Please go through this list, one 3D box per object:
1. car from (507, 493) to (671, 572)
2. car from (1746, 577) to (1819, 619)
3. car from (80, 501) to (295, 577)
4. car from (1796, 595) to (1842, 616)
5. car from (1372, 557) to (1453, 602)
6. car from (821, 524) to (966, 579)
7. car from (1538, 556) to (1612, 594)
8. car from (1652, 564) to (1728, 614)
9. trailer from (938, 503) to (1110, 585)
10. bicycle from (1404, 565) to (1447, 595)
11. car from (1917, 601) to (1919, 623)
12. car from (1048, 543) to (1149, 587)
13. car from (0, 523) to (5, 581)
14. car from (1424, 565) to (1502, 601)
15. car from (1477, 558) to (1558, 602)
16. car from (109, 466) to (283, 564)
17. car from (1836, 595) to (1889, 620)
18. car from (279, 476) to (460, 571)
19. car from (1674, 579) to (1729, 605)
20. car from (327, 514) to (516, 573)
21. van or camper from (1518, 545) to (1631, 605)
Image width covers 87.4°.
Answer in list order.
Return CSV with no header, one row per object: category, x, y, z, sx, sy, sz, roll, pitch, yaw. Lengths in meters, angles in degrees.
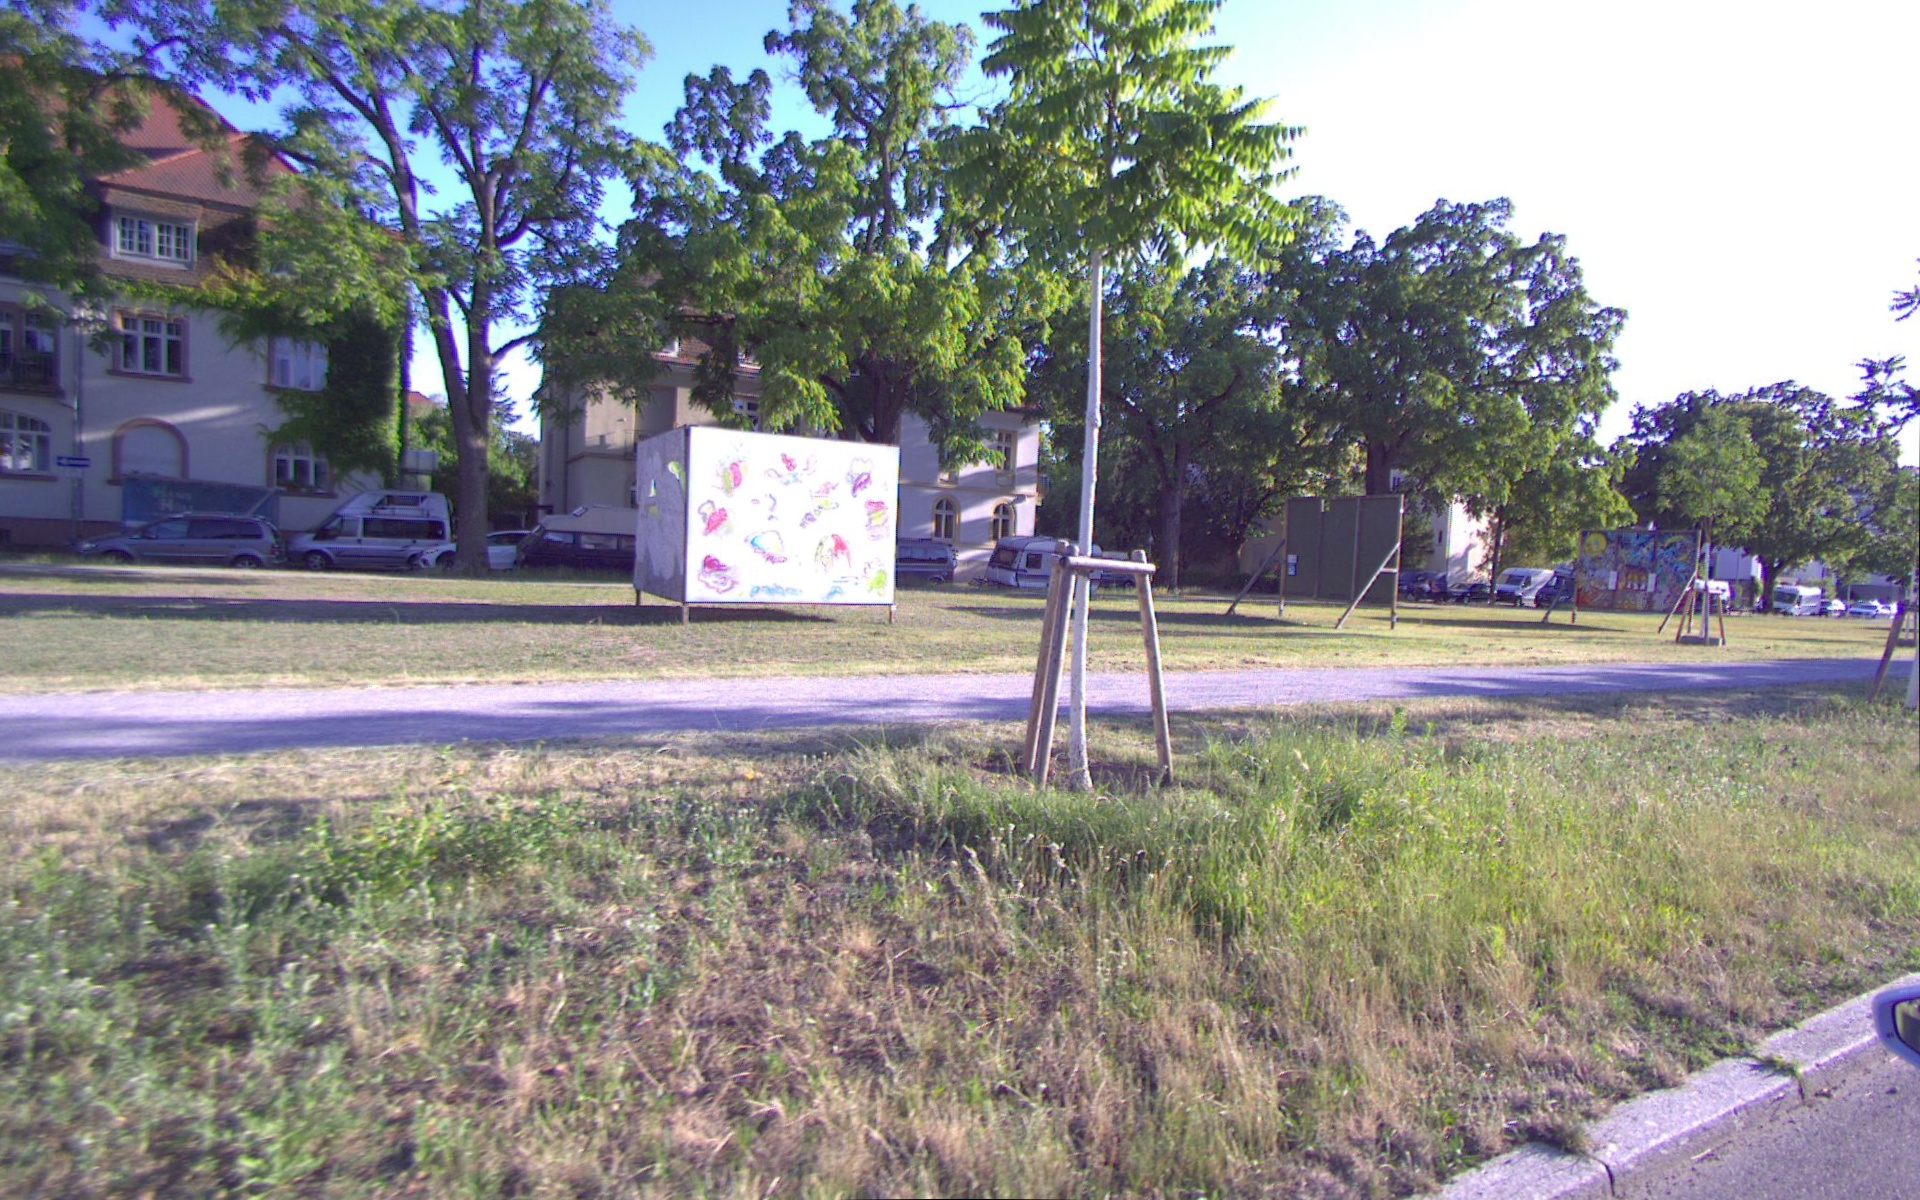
car,-11.617,-2.089,31.538,4.521,2.204,1.982,1,4,-33
car,61.366,-0.127,74.917,5.802,2.863,2.250,3,-1,-30
car,-20.223,-1.582,26.577,4.295,1.752,1.983,1,4,-31
car,78.958,0.489,92.333,4.613,1.725,1.773,3,-1,-31
car,27.951,-1.242,62.023,5.056,2.450,1.928,3,-1,-30
car,-2.420,-1.769,37.043,4.897,1.664,1.982,2,4,-32
car,36.970,-1.478,60.368,3.952,2.041,1.984,1,4,-30
car,57.825,-0.843,79.494,6.686,3.606,2.292,3,0,-30
trailer,2.607,-2.115,39.902,6.561,2.694,2.461,3,-1,-31
bicycle,22.391,-0.944,48.313,2.300,1.360,0.508,1,4,-27
car,89.935,1.169,92.225,4.277,1.942,1.880,3,-1,-30
car,6.850,-1.714,49.469,4.657,1.938,1.881,1,4,-30
car,-29.786,-1.403,27.882,4.391,1.683,1.919,1,4,-30
car,32.490,-1.078,64.899,4.989,2.031,1.960,2,4,-30
car,38.047,-1.316,68.499,6.020,2.632,1.984,3,-1,-31
car,-23.567,-2.589,31.182,3.954,2.575,1.984,3,2,-30
car,74.655,0.625,83.067,4.587,1.924,1.825,3,-1,-29
car,-19.593,-2.469,33.562,4.985,2.674,1.936,3,-1,-30
car,50.274,-0.534,68.086,4.261,1.585,1.406,2,4,-31
car,-16.991,-1.785,31.897,5.111,1.546,1.984,2,4,-30
van or camper,36.970,-1.478,60.368,6.822,3.307,2.629,1,4,-30
